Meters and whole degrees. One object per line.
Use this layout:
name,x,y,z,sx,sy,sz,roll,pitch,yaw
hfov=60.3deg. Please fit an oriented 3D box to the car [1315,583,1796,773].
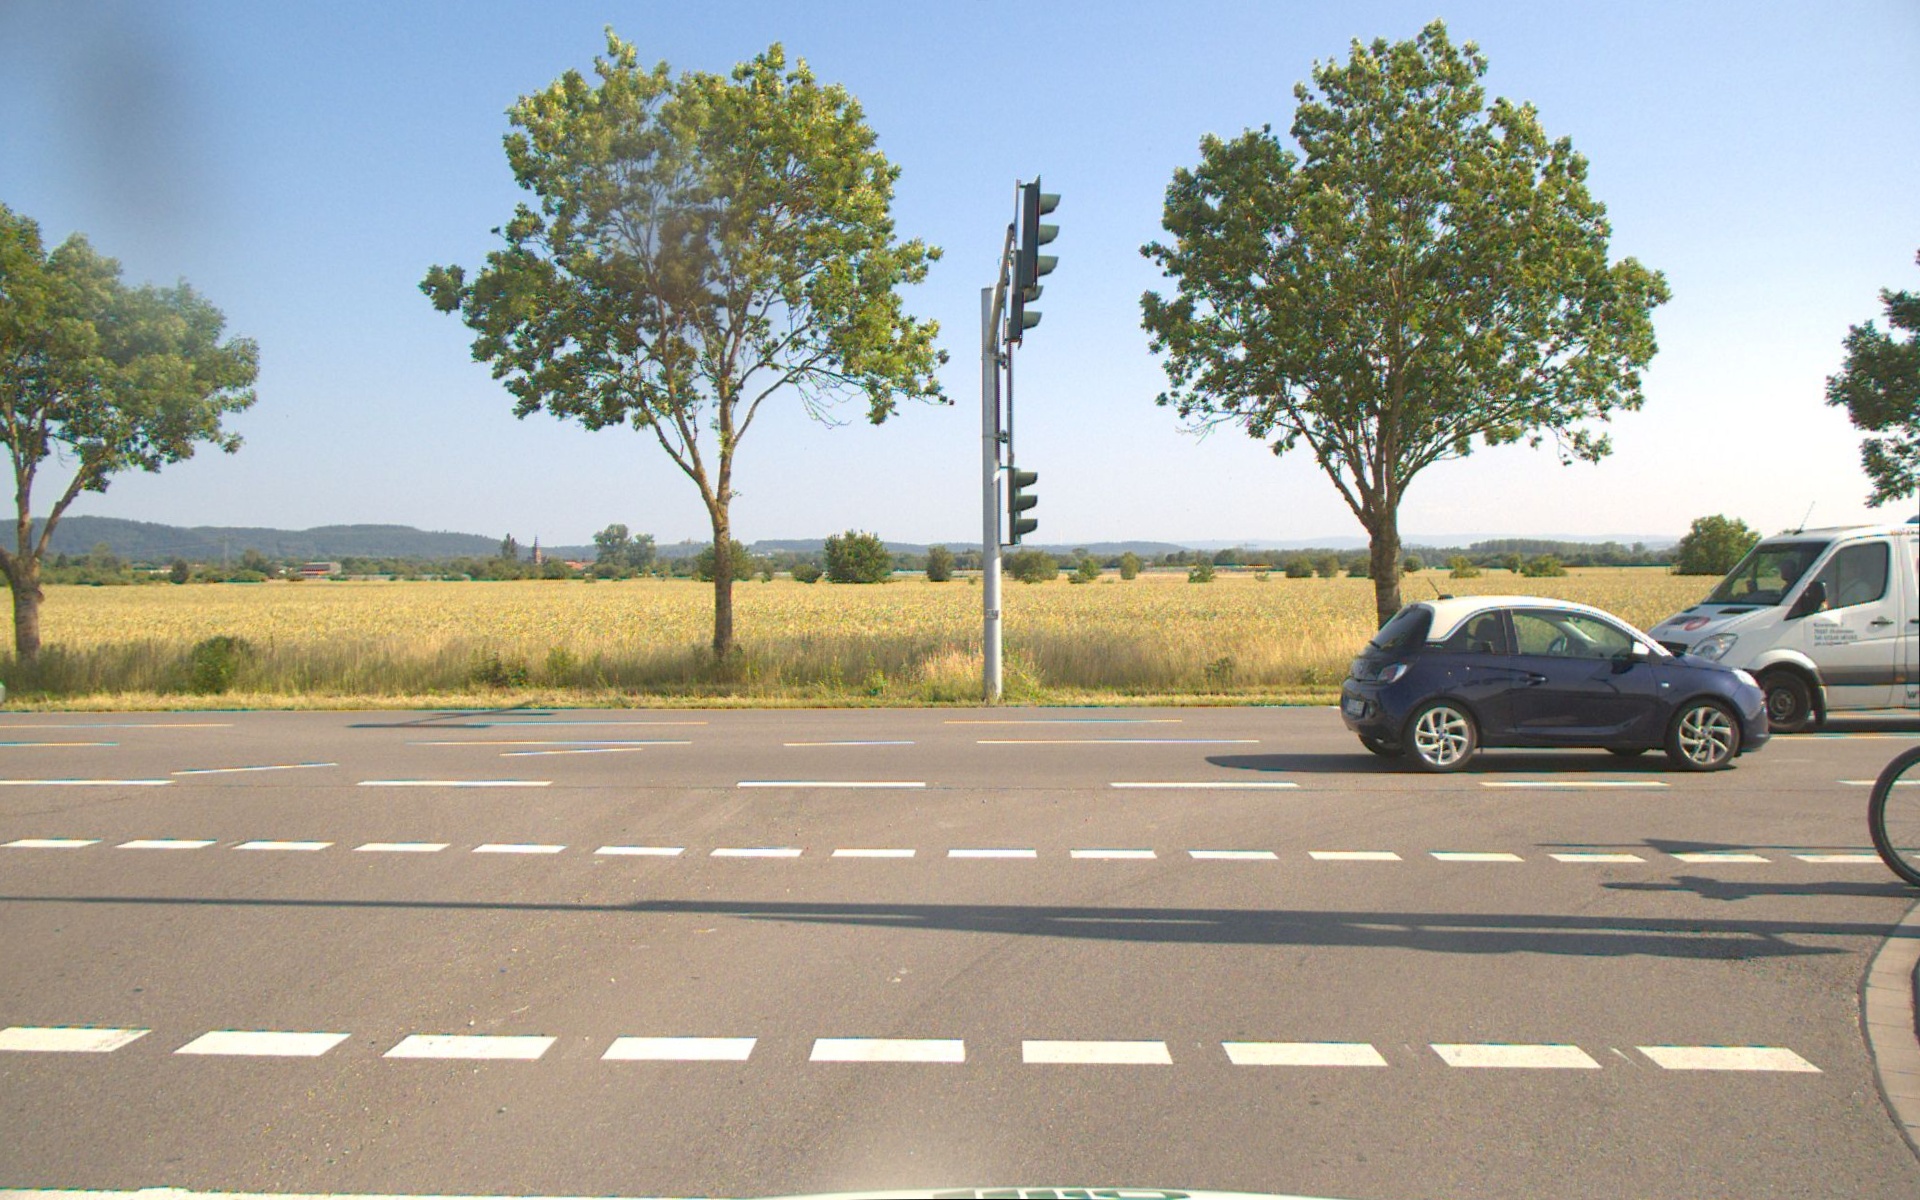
car,5.193,0.643,14.739,3.652,1.482,1.728,-1,1,-2

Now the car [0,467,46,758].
car,-11.640,0.146,14.941,5.612,2.668,2.034,-1,0,1

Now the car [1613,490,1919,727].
car,10.801,0.069,18.980,5.838,2.536,1.999,-1,-1,-3

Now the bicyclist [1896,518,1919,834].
bicyclist,5.612,0.404,8.192,1.254,1.629,1.164,0,1,-6

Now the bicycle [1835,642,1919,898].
bicycle,5.594,0.816,8.160,2.113,1.207,0.889,0,-1,-5
